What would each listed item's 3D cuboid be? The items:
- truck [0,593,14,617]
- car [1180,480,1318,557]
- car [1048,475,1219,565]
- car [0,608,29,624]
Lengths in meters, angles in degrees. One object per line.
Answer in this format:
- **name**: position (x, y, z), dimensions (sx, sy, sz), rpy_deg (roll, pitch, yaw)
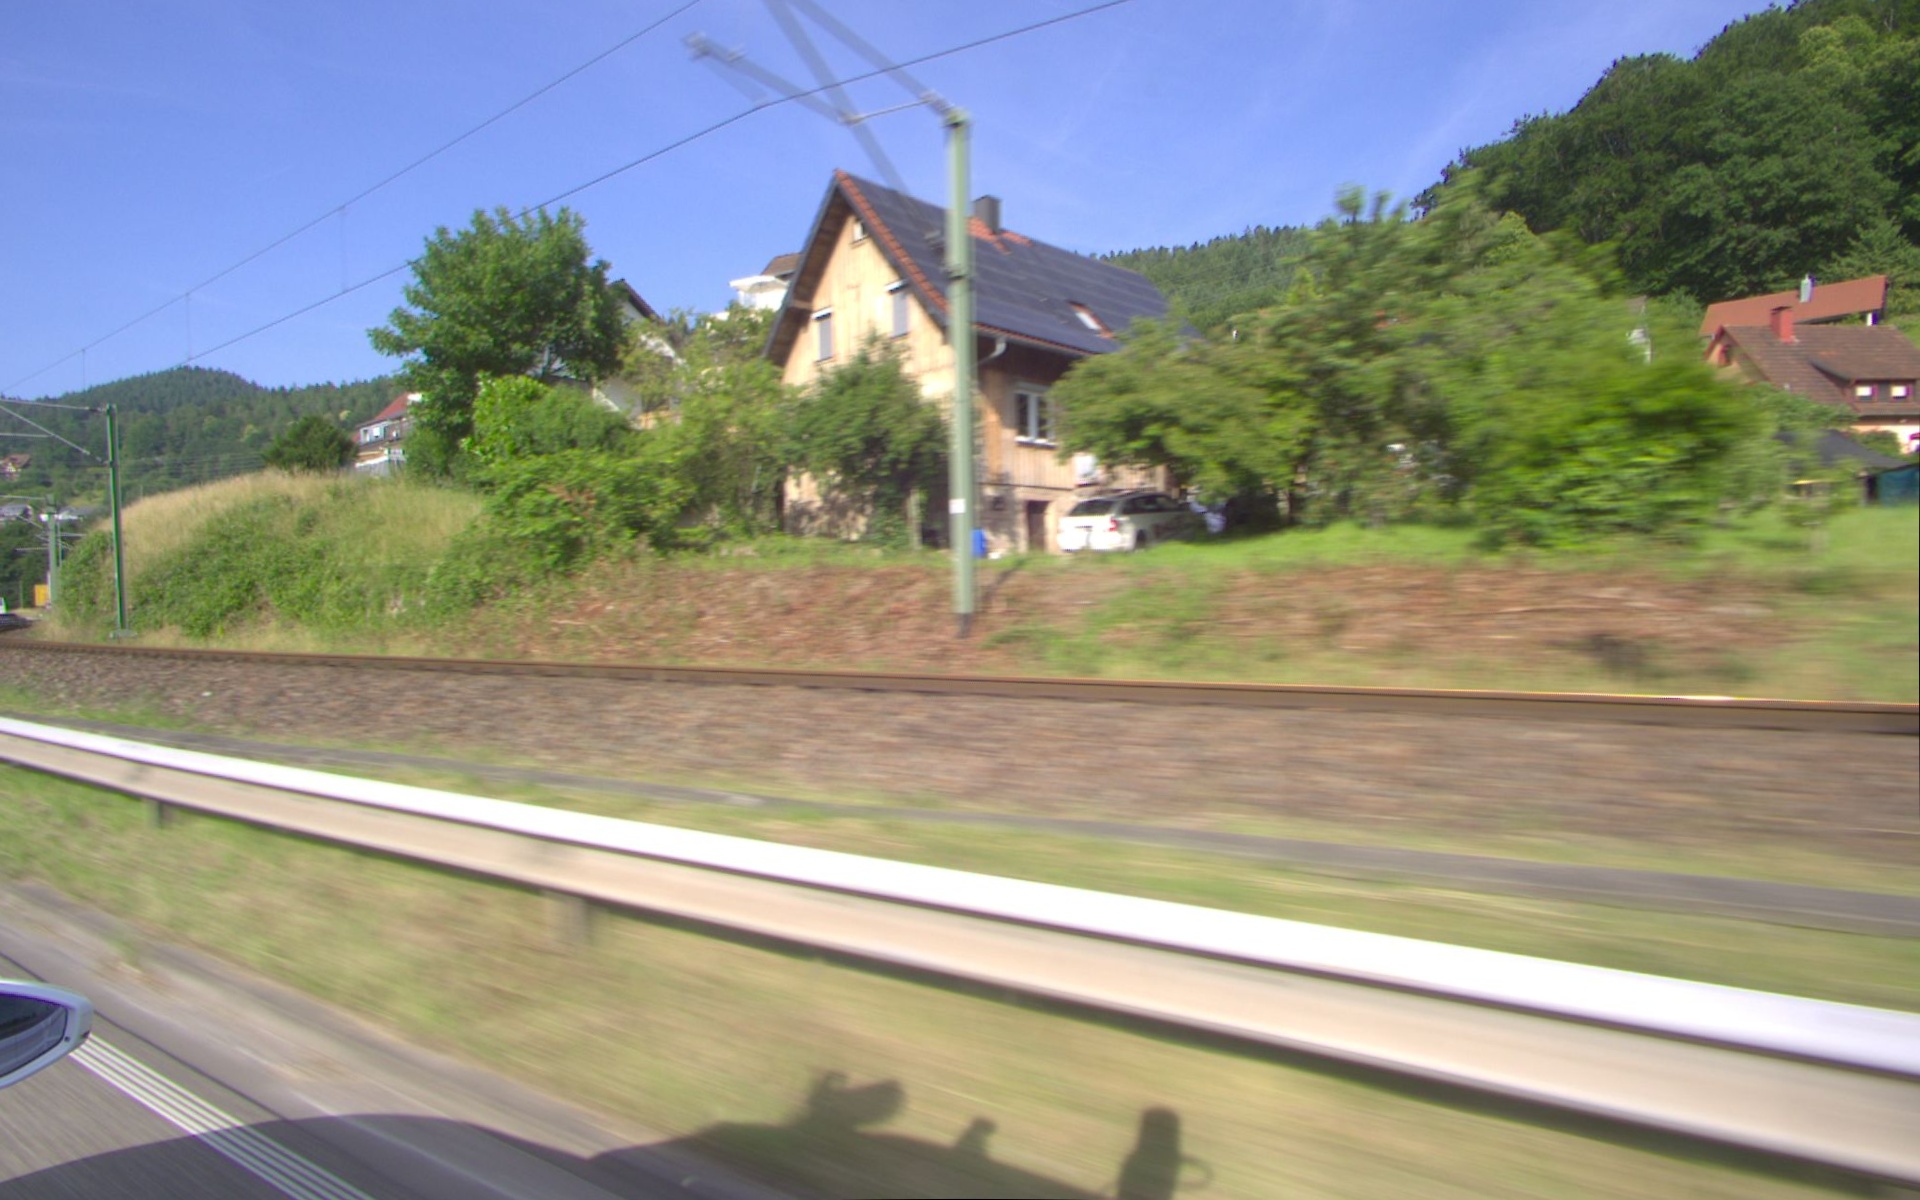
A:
- **truck**: position (-132.376, 0.686, 137.789), dimensions (6.041, 3.124, 2.698), rpy_deg (0, -1, 43)
- **car**: position (8.095, -2.184, 27.808), dimensions (4.429, 1.603, 1.759), rpy_deg (2, -3, -45)
- **car**: position (4.180, -1.787, 23.632), dimensions (4.429, 1.603, 1.759), rpy_deg (2, -3, -45)
- **car**: position (-108.391, 1.848, 114.832), dimensions (2.045, 1.835, 3.970), rpy_deg (0, 0, -37)
